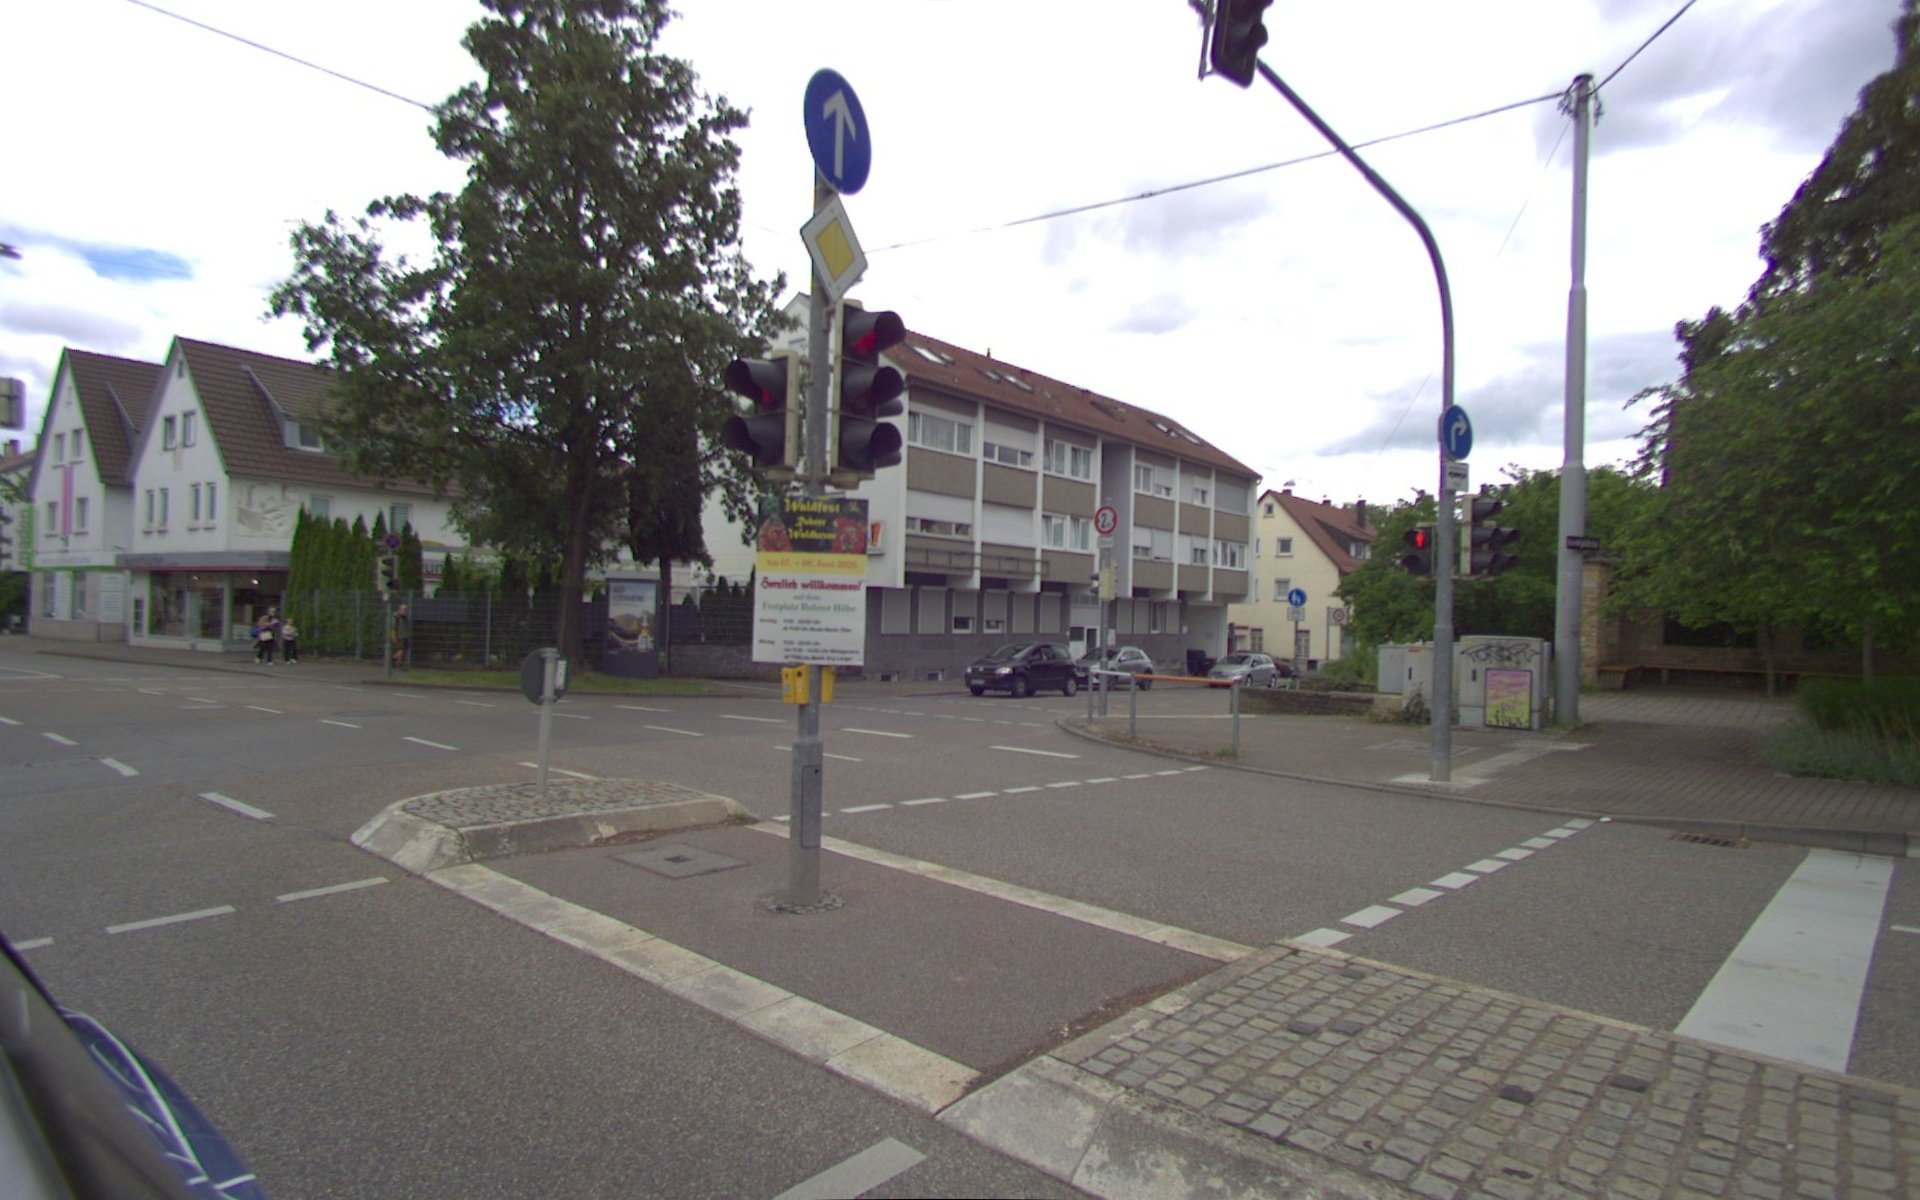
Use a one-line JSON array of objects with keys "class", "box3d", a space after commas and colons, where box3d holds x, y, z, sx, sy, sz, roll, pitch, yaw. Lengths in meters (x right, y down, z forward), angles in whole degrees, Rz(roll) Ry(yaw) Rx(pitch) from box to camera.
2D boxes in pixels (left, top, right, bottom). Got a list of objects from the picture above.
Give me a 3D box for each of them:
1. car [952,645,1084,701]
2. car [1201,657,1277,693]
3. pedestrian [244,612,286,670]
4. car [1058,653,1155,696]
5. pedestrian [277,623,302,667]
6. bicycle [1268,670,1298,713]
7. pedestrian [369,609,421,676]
[{"class": "car", "box3d": [1.663, 2.011, 27.988, 1.772, 1.409, 3.594, -1, -4, 43]}, {"class": "car", "box3d": [12.245, 3.306, 44.307, 1.828, 1.450, 3.596, -2, -6, 41]}, {"class": "pedestrian", "box3d": [-20.039, 1.173, 29.178, 0.862, 1.617, 0.636, 0, 0, 25]}, {"class": "car", "box3d": [5.314, 2.685, 36.462, 1.757, 1.409, 3.594, -1, -5, 43]}, {"class": "pedestrian", "box3d": [-19.585, 1.312, 29.556, 0.547, 1.271, 0.379, 0, 0, 25]}, {"class": "bicycle", "box3d": [7.500, 2.110, 23.470, 0.423, 0.949, 1.305, 0, -5, 28]}, {"class": "pedestrian", "box3d": [-15.498, 1.140, 27.772, 1.227, 1.767, 0.814, 0, 0, 36]}]
